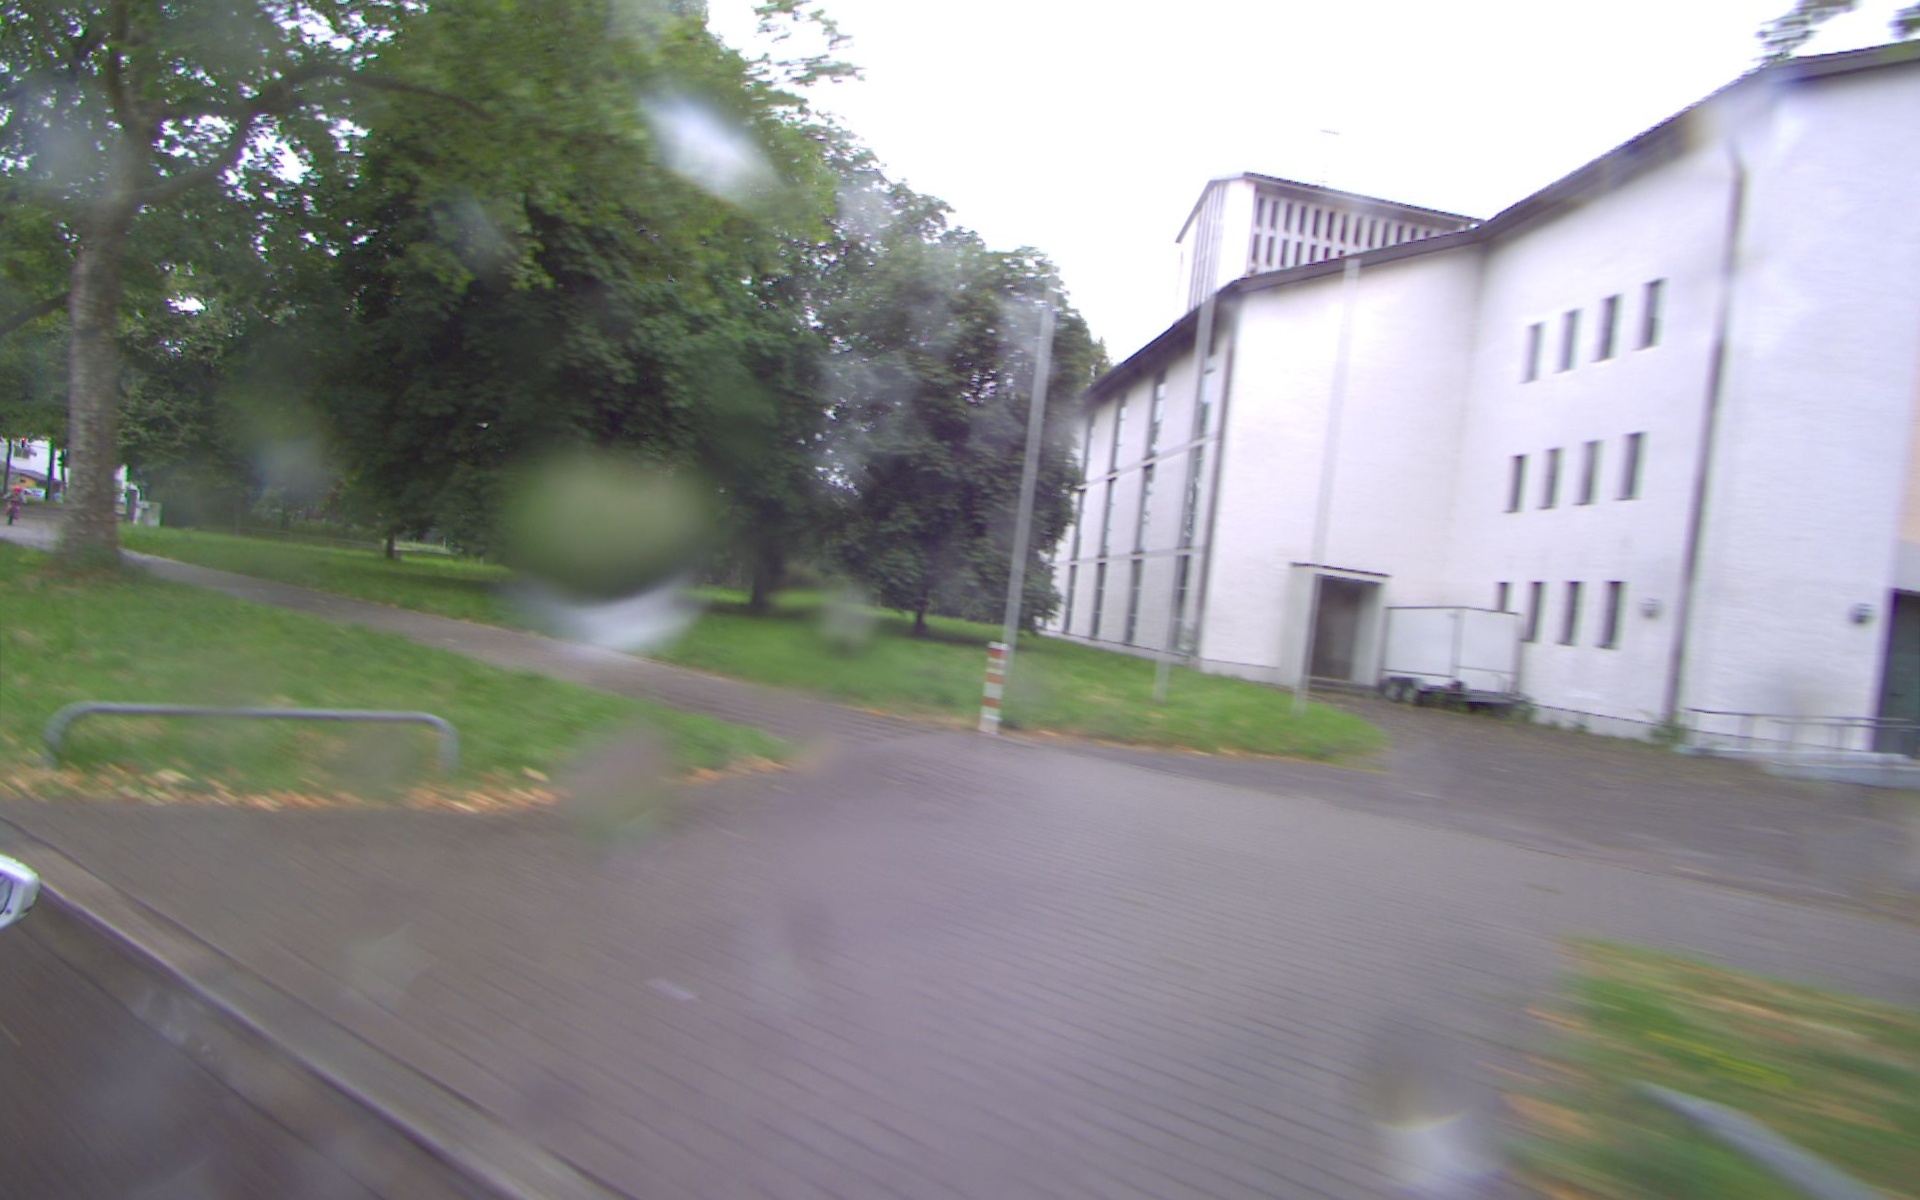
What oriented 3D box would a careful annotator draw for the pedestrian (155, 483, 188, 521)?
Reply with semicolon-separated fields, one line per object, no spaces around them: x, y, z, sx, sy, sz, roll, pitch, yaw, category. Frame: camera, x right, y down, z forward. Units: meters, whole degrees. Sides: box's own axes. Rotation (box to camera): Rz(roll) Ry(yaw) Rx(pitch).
-39.701;-4.919;50.657;1.022;1.716;0.849;6;1;-26;pedestrian

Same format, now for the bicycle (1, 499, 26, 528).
-27.802;-2.546;29.548;0.485;0.717;1.439;6;2;-44;bicycle

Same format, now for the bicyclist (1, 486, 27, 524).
-27.707;-2.782;29.465;0.485;1.051;0.584;5;2;-44;bicyclist

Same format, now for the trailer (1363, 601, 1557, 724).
11.463;1.340;23.429;1.859;2.338;4.013;7;1;-8;trailer
